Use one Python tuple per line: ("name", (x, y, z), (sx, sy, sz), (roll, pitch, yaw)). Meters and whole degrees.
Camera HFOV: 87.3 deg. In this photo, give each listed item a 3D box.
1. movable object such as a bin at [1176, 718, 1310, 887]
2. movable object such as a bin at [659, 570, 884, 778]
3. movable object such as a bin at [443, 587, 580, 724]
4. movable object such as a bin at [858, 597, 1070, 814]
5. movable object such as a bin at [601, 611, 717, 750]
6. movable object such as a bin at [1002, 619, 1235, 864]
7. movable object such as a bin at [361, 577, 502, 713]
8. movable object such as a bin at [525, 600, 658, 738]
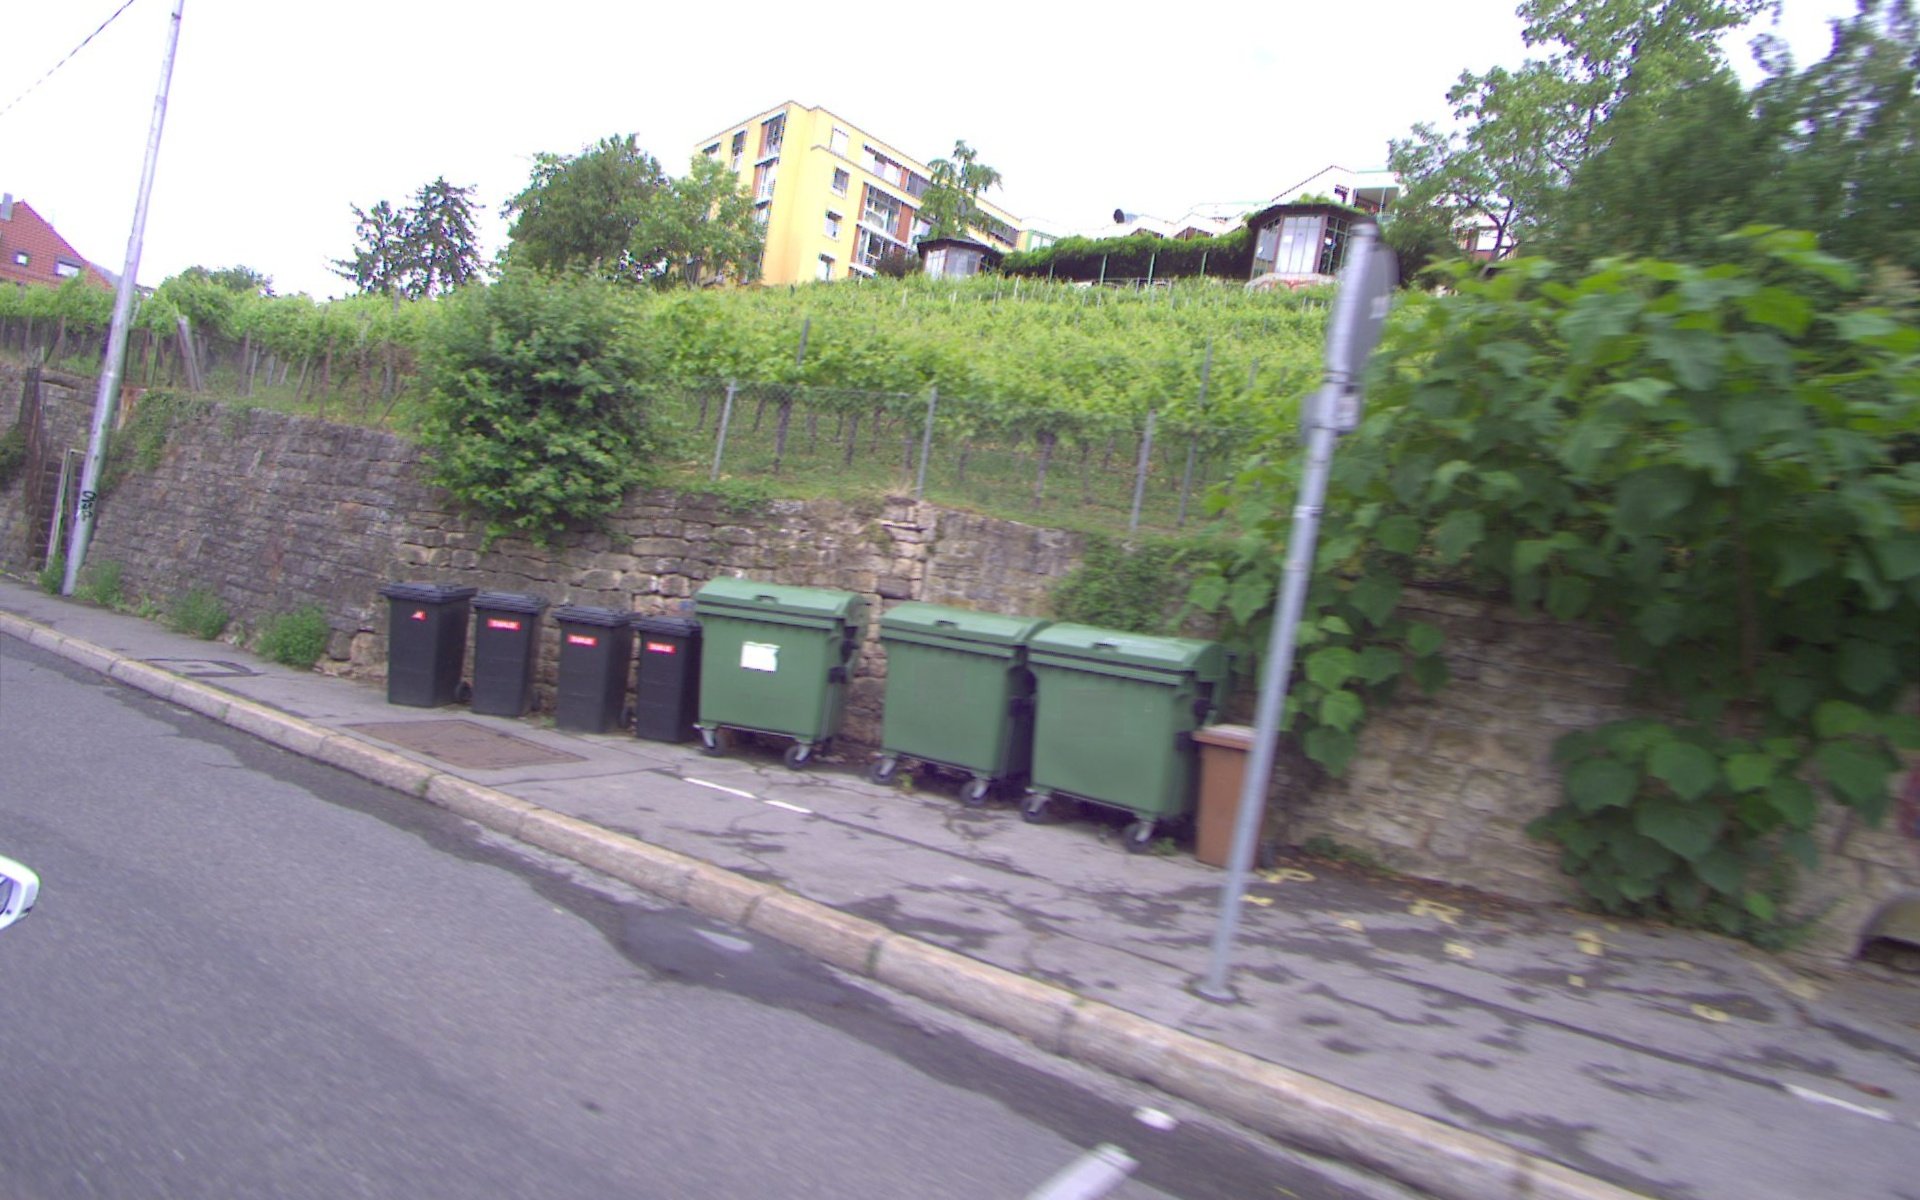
("movable object such as a bin", (1.903, 1.322, 6.739), (0.629, 0.953, 0.595), (7, 0, 31))
("movable object such as a bin", (-1.548, 0.592, 8.458), (1.391, 1.462, 1.051), (7, 0, 15))
("movable object such as a bin", (-3.916, 0.483, 8.824), (0.666, 1.071, 0.745), (7, 0, 15))
("movable object such as a bin", (0.055, 0.804, 8.019), (1.184, 1.462, 1.050), (7, 0, 28))
("movable object such as a bin", (-2.553, 0.673, 8.589), (0.537, 1.071, 0.712), (7, 0, 15))
("movable object such as a bin", (1.158, 0.968, 7.260), (1.185, 1.462, 1.049), (7, 0, 32))
("movable object such as a bin", (-4.625, 0.393, 8.836), (0.666, 1.071, 0.745), (7, 0, 15))
("movable object such as a bin", (-3.183, 0.588, 8.733), (0.666, 1.071, 0.745), (7, 0, 15))
